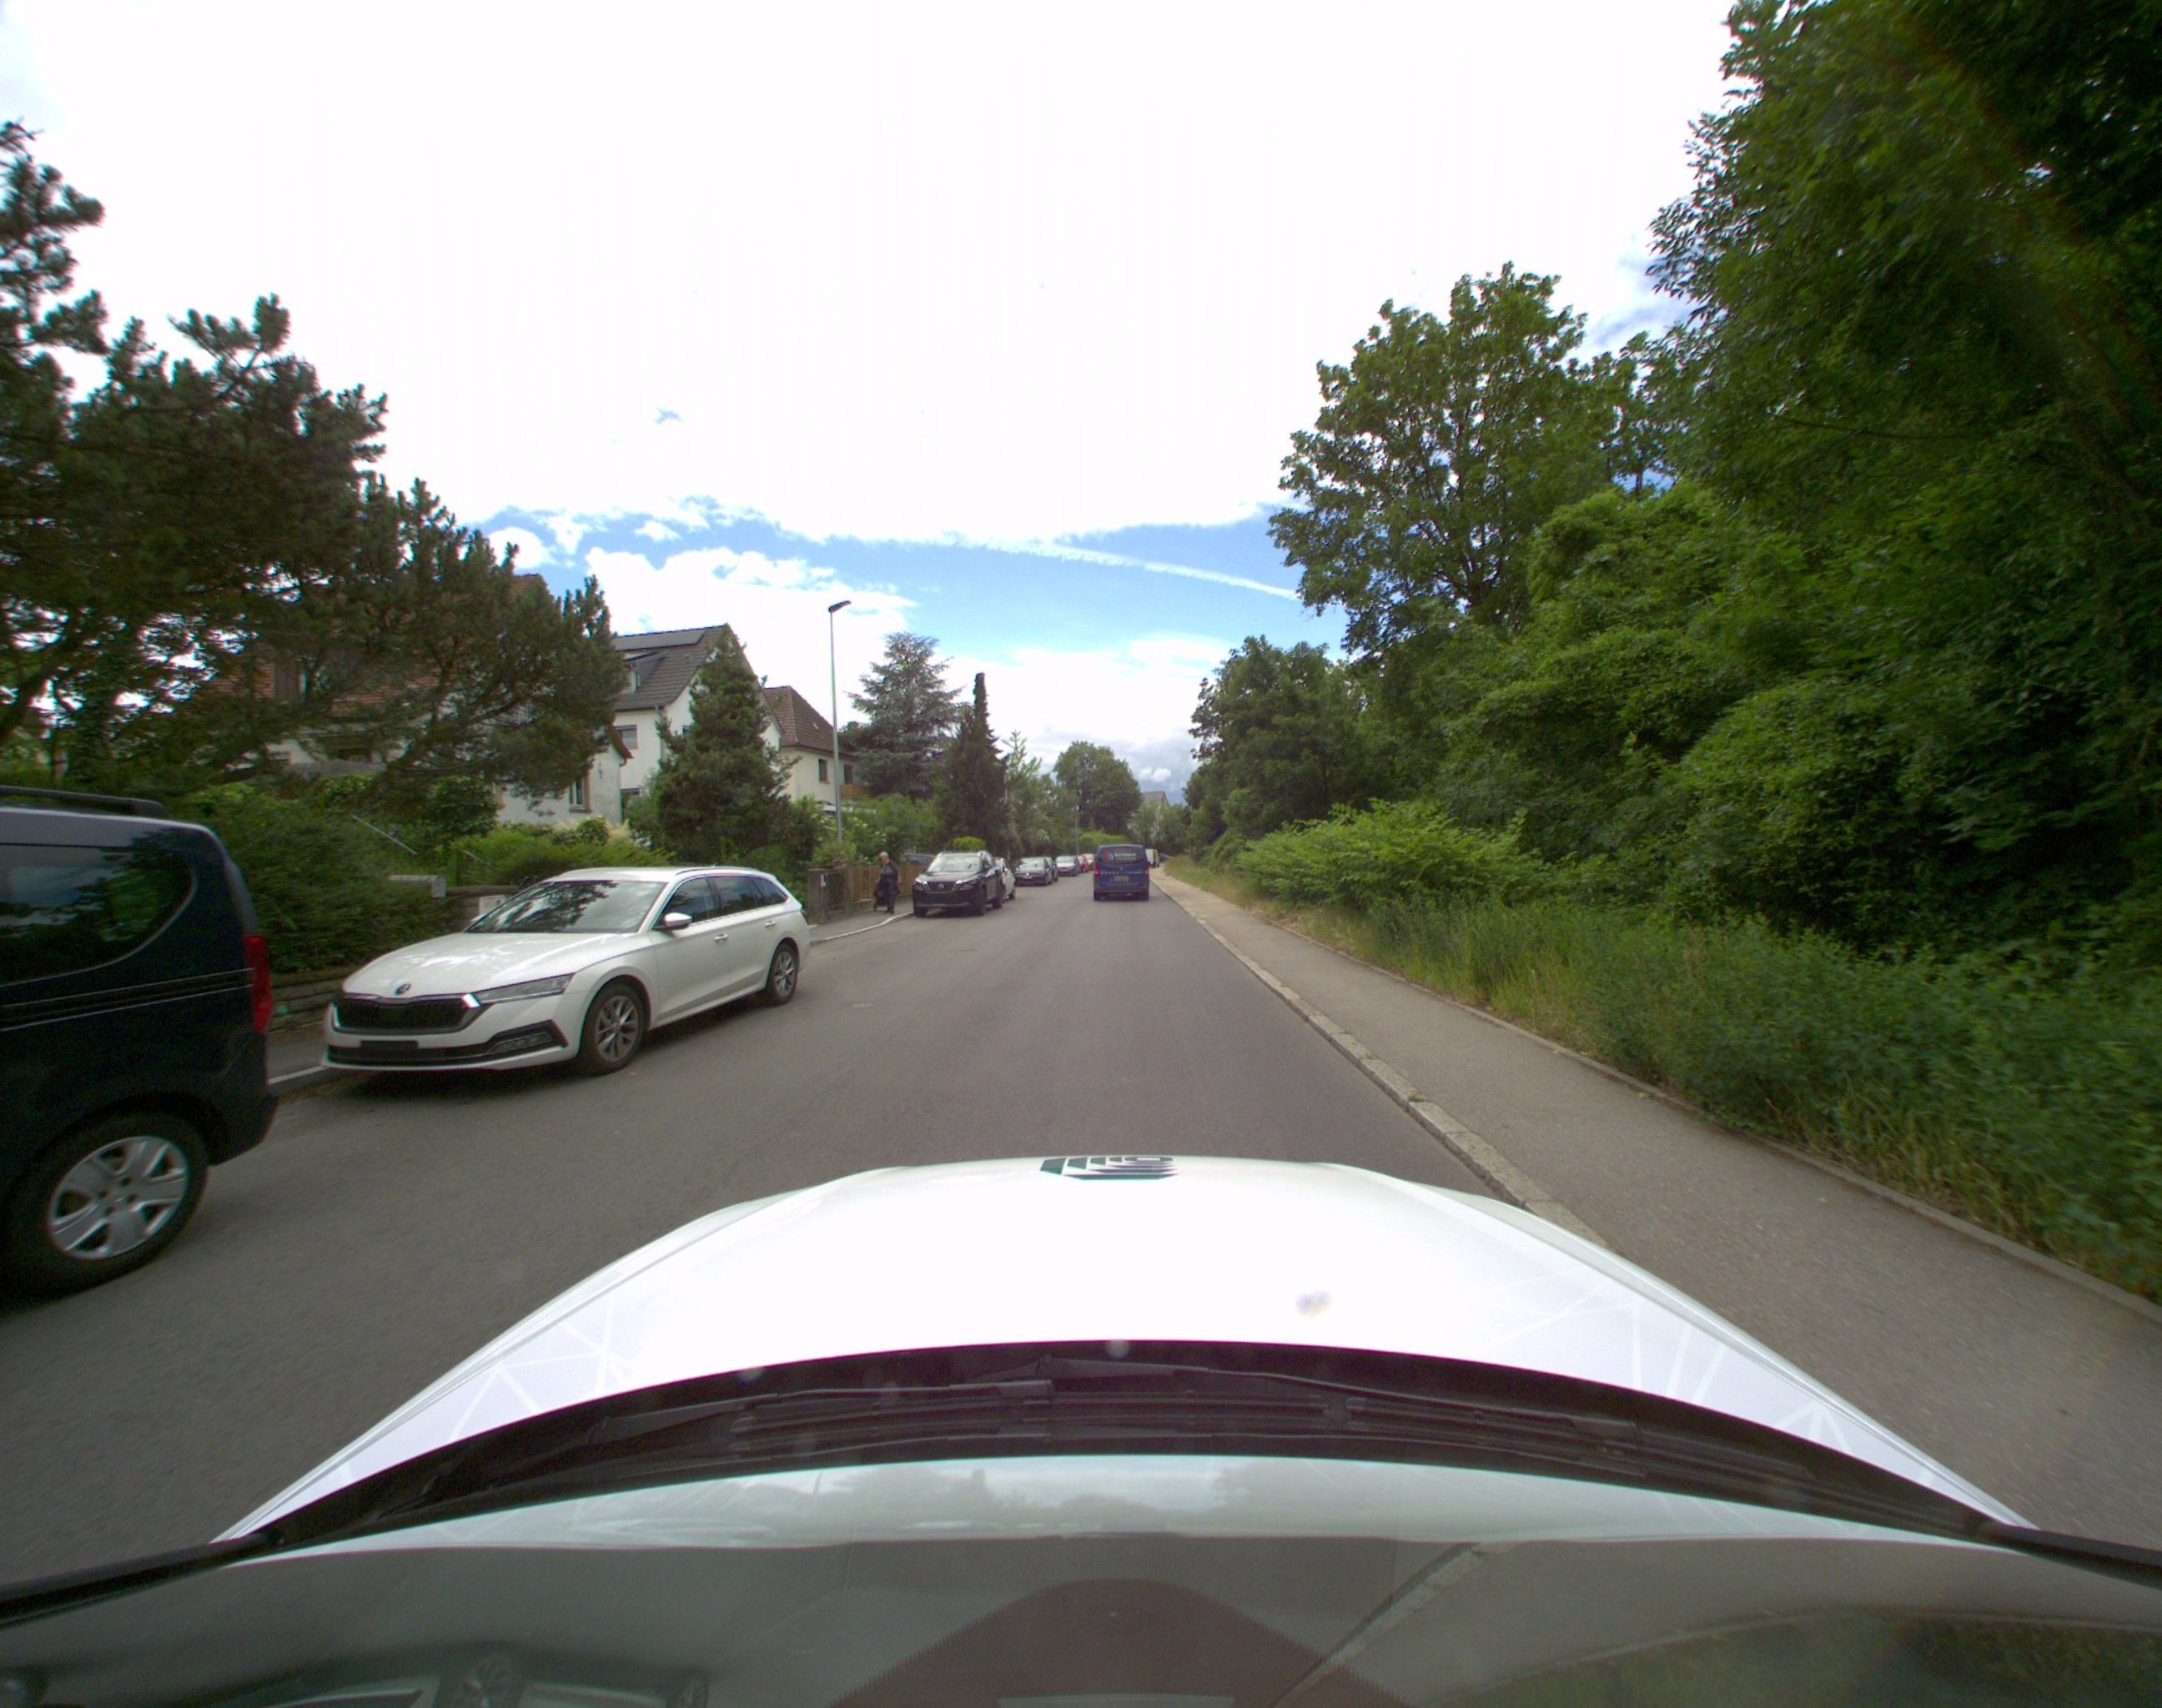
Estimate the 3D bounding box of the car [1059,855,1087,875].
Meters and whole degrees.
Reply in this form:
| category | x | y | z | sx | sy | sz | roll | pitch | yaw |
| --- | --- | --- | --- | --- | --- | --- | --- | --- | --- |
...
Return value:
| category | x | y | z | sx | sy | sz | roll | pitch | yaw |
| --- | --- | --- | --- | --- | --- | --- | --- | --- | --- |
| car | -0.616 | 0.852 | 64.143 | 1.698 | 1.514 | 4.502 | -1 | 0 | 6 |

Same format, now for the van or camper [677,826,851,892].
| category | x | y | z | sx | sy | sz | roll | pitch | yaw |
| --- | --- | --- | --- | --- | --- | --- | --- | --- | --- |
| van or camper | -13.394 | 0.196 | 34.542 | 6.635 | 2.651 | 2.331 | 0 | 0 | 11 |

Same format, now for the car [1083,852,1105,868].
| category | x | y | z | sx | sy | sz | roll | pitch | yaw |
| --- | --- | --- | --- | --- | --- | --- | --- | --- | --- |
| car | 1.326 | 0.623 | 81.624 | 1.578 | 1.514 | 3.600 | -1 | 0 | 9 |

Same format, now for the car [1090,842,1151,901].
| category | x | y | z | sx | sy | sz | roll | pitch | yaw |
| --- | --- | --- | --- | --- | --- | --- | --- | --- | --- |
| car | 1.338 | 0.572 | 28.690 | 1.929 | 1.880 | 4.532 | -1 | 0 | 1 |

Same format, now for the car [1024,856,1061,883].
| category | x | y | z | sx | sy | sz | roll | pitch | yaw |
| --- | --- | --- | --- | --- | --- | --- | --- | --- | --- |
| car | -2.189 | 0.840 | 46.889 | 1.700 | 1.416 | 4.135 | -1 | 0 | 3 |

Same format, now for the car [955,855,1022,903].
| category | x | y | z | sx | sy | sz | roll | pitch | yaw |
| --- | --- | --- | --- | --- | --- | --- | --- | --- | --- |
| car | -3.155 | 0.834 | 28.591 | 1.700 | 1.511 | 3.949 | -1 | 0 | 2 |

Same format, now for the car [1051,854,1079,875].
| category | x | y | z | sx | sy | sz | roll | pitch | yaw |
| --- | --- | --- | --- | --- | --- | --- | --- | --- | --- |
| car | -1.145 | 0.752 | 58.845 | 1.700 | 1.410 | 4.163 | -1 | 0 | 3 |

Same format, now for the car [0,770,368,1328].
| category | x | y | z | sx | sy | sz | roll | pitch | yaw |
| --- | --- | --- | --- | --- | --- | --- | --- | --- | --- |
| car | -4.387 | 0.645 | 1.787 | 1.700 | 1.799 | 4.300 | -1 | 0 | 3 |

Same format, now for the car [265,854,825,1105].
| category | x | y | z | sx | sy | sz | roll | pitch | yaw |
| --- | --- | --- | --- | --- | --- | --- | --- | --- | --- |
| car | -4.039 | 0.785 | 7.292 | 1.699 | 1.511 | 4.560 | -1 | 0 | 5 |

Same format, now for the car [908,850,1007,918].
| category | x | y | z | sx | sy | sz | roll | pitch | yaw |
| --- | --- | --- | --- | --- | --- | --- | --- | --- | --- |
| car | -3.309 | 0.749 | 22.661 | 1.784 | 1.664 | 4.396 | -1 | 0 | 4 |

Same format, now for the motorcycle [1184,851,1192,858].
| category | x | y | z | sx | sy | sz | roll | pitch | yaw |
| --- | --- | --- | --- | --- | --- | --- | --- | --- | --- |
| motorcycle | 20.312 | 0.096 | 154.290 | 0.802 | 1.485 | 2.911 | -1 | -1 | 23 |

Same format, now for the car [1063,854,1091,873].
| category | x | y | z | sx | sy | sz | roll | pitch | yaw |
| --- | --- | --- | --- | --- | --- | --- | --- | --- | --- |
| car | -0.308 | 0.757 | 69.348 | 1.697 | 1.514 | 4.373 | -1 | 0 | 7 |

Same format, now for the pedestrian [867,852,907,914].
| category | x | y | z | sx | sy | sz | roll | pitch | yaw |
| --- | --- | --- | --- | --- | --- | --- | --- | --- | --- |
| pedestrian | -5.096 | 0.748 | 21.411 | 0.766 | 1.574 | 0.821 | -1 | 0 | 3 |

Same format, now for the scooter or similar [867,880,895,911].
| category | x | y | z | sx | sy | sz | roll | pitch | yaw |
| --- | --- | --- | --- | --- | --- | --- | --- | --- | --- |
| scooter or similar | -5.430 | 1.118 | 22.123 | 0.569 | 0.778 | 0.712 | -1 | 0 | 1 |

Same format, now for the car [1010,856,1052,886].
| category | x | y | z | sx | sy | sz | roll | pitch | yaw |
| --- | --- | --- | --- | --- | --- | --- | --- | --- | --- |
| car | -2.522 | 0.843 | 41.860 | 1.700 | 1.416 | 4.152 | -1 | 0 | 3 |

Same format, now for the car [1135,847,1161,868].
| category | x | y | z | sx | sy | sz | roll | pitch | yaw |
| --- | --- | --- | --- | --- | --- | --- | --- | --- | --- |
| car | 7.253 | 0.350 | 87.726 | 2.192 | 2.063 | 6.153 | -2 | 0 | 11 |

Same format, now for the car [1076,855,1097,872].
| category | x | y | z | sx | sy | sz | roll | pitch | yaw |
| --- | --- | --- | --- | --- | --- | --- | --- | --- | --- |
| car | 0.516 | 0.891 | 77.169 | 1.535 | 1.514 | 3.652 | -1 | 0 | 7 |
